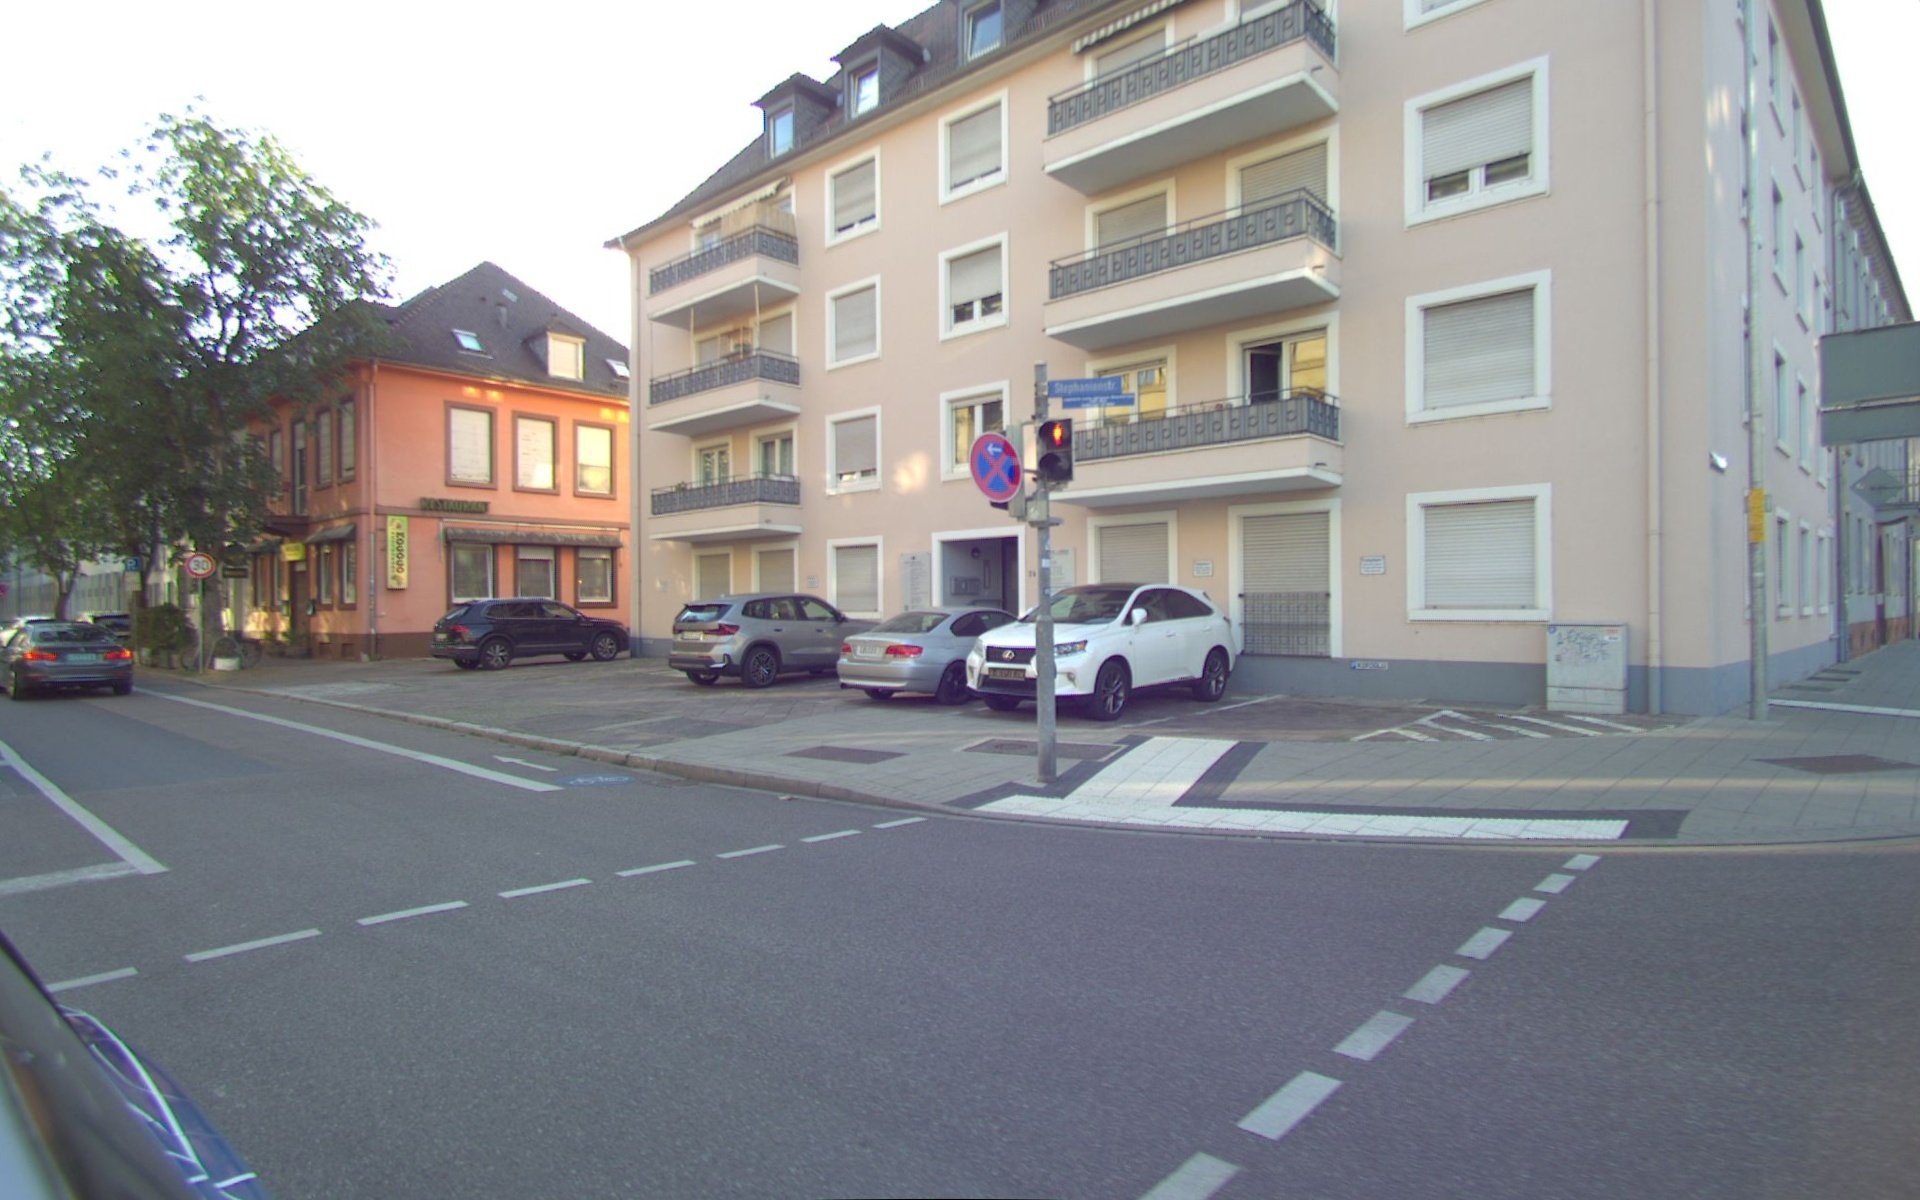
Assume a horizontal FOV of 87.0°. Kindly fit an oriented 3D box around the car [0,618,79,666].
[{"bbox_3d":[-36.651,1.618,39.871,4.646,1.680,1.812,-1,3,36],"label":"car"}]

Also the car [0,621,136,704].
[{"bbox_3d":[-18.026,1.163,20.182,4.421,1.470,1.763,-1,-1,42],"label":"car"}]

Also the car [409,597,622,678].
[{"bbox_3d":[-10.795,0.857,24.842,1.862,1.678,4.374,-2,1,40],"label":"car"}]

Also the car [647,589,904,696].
[{"bbox_3d":[-3.242,0.683,18.500,1.915,1.617,4.374,-2,1,40],"label":"car"}]

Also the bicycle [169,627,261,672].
[{"bbox_3d":[-19.597,1.283,26.643,0.609,1.112,1.850,-1,0,35],"label":"bicycle"}]

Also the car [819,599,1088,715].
[{"bbox_3d":[0.041,0.758,15.364,1.734,1.391,4.223,-2,1,40],"label":"car"}]

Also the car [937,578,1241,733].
[{"bbox_3d":[1.893,0.603,13.577,1.941,1.653,4.396,-2,1,40],"label":"car"}]

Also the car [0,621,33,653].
[{"bbox_3d":[-52.625,1.995,54.213,1.799,1.702,4.178,-1,-1,39],"label":"car"}]

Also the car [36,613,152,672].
[{"bbox_3d":[-29.831,1.428,34.803,5.038,1.772,1.812,-1,3,36],"label":"car"}]
